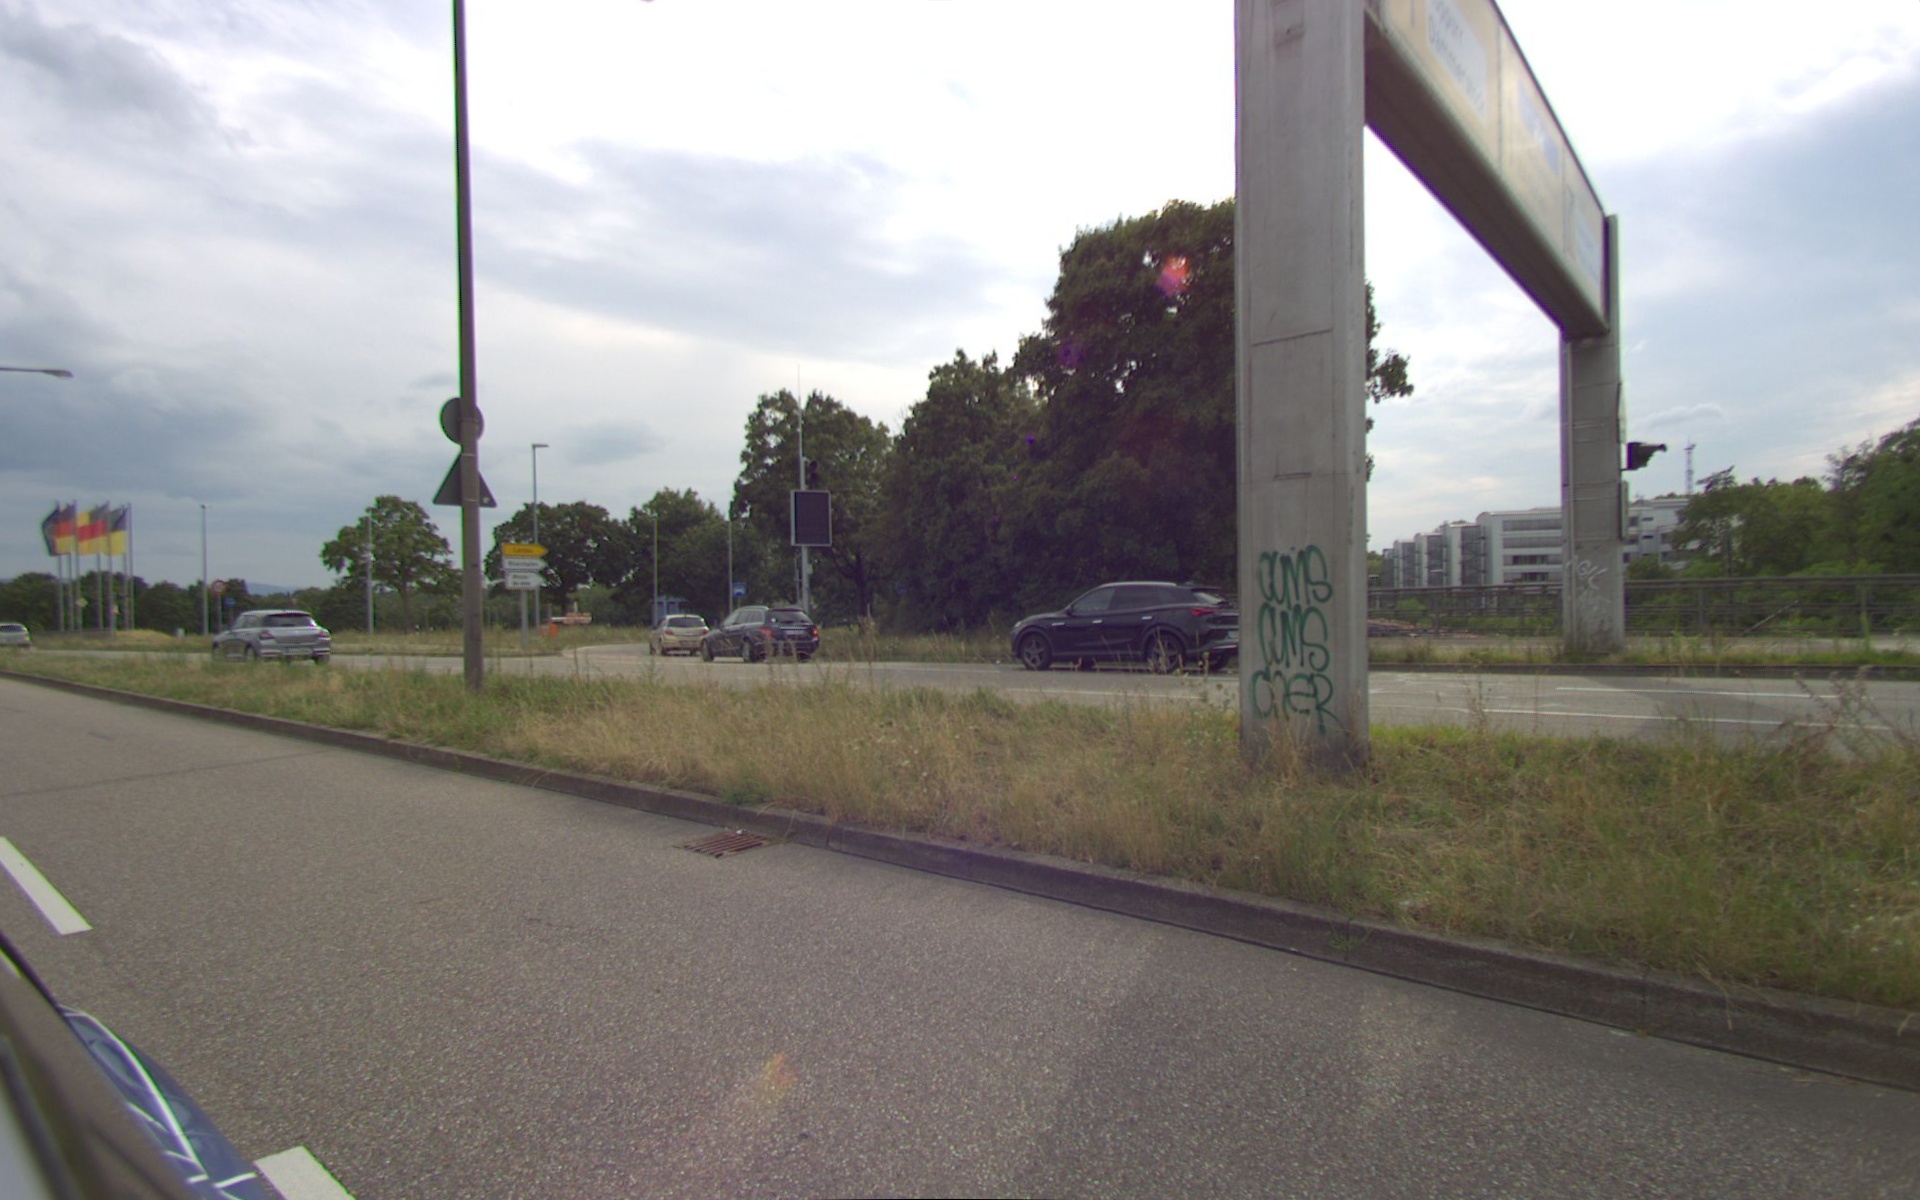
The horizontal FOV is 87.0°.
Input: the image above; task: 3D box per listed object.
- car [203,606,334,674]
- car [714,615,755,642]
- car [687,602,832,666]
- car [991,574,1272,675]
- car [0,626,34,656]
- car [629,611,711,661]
[{"bbox_3d":[-17.960,1.034,26.238,3.872,1.619,1.754,-3,-1,39],"label":"car"},{"bbox_3d":[-12.821,1.575,57.686,1.968,1.293,4.007,-3,1,-8],"label":"car"},{"bbox_3d":[-5.411,0.972,26.898,1.862,1.539,4.677,3,-5,-38],"label":"car"},{"bbox_3d":[3.023,0.490,18.523,4.756,1.619,1.868,-3,-1,40],"label":"car"},{"bbox_3d":[-57.356,2.438,60.987,3.873,1.619,1.754,0,1,39],"label":"car"},{"bbox_3d":[-10.332,1.281,35.858,1.793,1.619,3.908,3,-3,-31],"label":"car"}]
